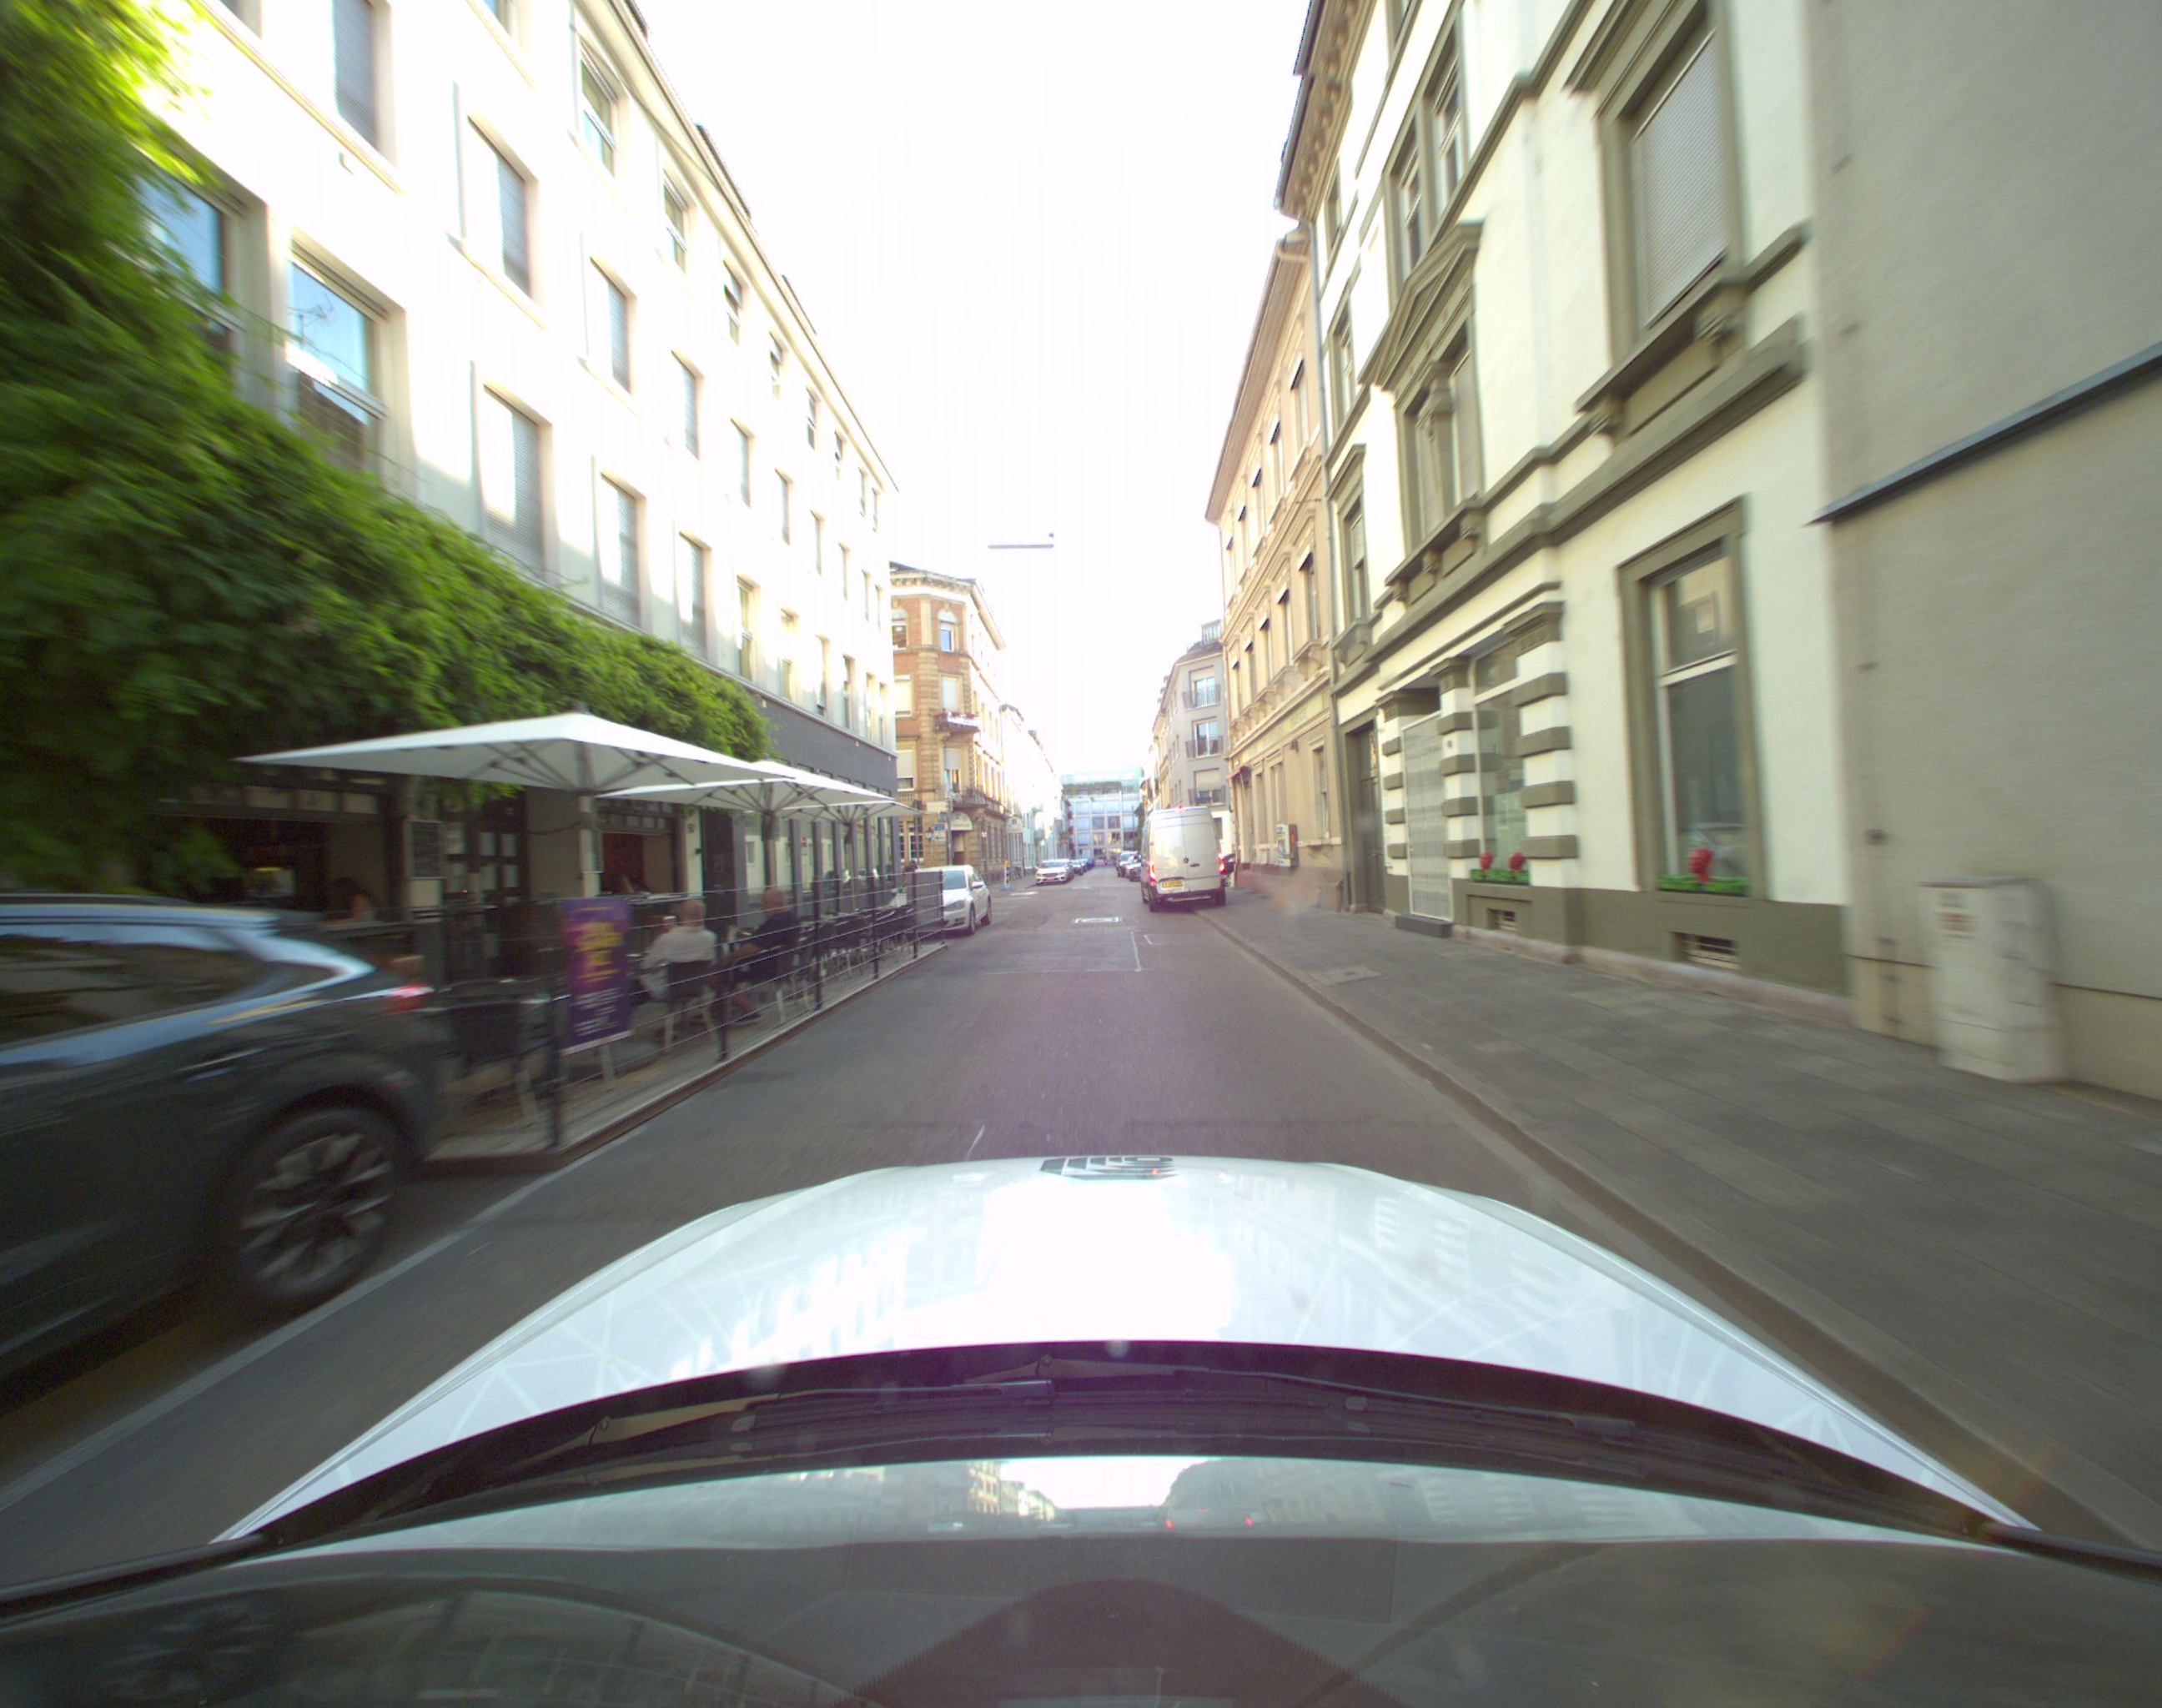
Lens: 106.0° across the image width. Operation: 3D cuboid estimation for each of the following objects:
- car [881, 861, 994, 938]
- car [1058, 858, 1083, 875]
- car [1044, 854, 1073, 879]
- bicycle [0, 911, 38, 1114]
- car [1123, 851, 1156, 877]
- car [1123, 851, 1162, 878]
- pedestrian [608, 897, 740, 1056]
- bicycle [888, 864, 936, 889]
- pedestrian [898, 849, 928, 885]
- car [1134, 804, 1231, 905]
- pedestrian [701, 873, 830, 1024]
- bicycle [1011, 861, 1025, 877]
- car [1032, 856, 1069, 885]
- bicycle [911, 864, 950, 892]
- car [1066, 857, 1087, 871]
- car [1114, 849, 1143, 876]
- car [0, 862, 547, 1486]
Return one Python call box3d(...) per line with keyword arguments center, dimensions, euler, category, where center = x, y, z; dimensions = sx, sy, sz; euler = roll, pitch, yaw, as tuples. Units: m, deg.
box3d(center=(-3.012, 0.912, 17.884), dimensions=(1.652, 1.414, 3.883), euler=(-3, 0, 1), category="car")
box3d(center=(-0.928, 1.054, 72.368), dimensions=(1.986, 1.355, 4.430), euler=(-3, 0, 1), category="car")
box3d(center=(-1.483, 0.809, 55.113), dimensions=(1.618, 1.576, 3.757), euler=(-3, 0, 3), category="car")
box3d(center=(-6.614, 0.936, 3.978), dimensions=(0.640, 1.160, 1.795), euler=(-2, 0, 3), category="bicycle")
box3d(center=(3.881, 0.661, 54.321), dimensions=(1.956, 1.557, 3.890), euler=(-3, 0, 1), category="car")
box3d(center=(3.602, 0.618, 48.252), dimensions=(1.931, 1.372, 3.789), euler=(-5, 0, 1), category="car")
box3d(center=(-3.336, 0.966, 6.704), dimensions=(0.546, 1.165, 0.746), euler=(-3, 0, 34), category="pedestrian")
box3d(center=(-7.451, 0.977, 35.903), dimensions=(1.966, 1.007, 0.540), euler=(-3, 0, 3), category="bicycle")
box3d(center=(-7.409, 0.576, 35.940), dimensions=(1.074, 1.545, 0.833), euler=(-3, 0, 4), category="pedestrian")
box3d(center=(2.770, 0.013, 23.710), dimensions=(2.267, 2.439, 6.208), euler=(-3, 0, 3), category="car")
box3d(center=(-2.977, 0.860, 7.770), dimensions=(0.778, 1.287, 0.916), euler=(-3, 0, 2), category="pedestrian")
box3d(center=(-4.683, 1.112, 60.926), dimensions=(0.734, 1.160, 2.462), euler=(-2, 0, 2), category="bicycle")
box3d(center=(-1.792, 0.984, 49.414), dimensions=(1.987, 1.564, 4.505), euler=(-3, 0, 0), category="car")
box3d(center=(-7.572, 1.227, 41.046), dimensions=(1.753, 1.275, 0.660), euler=(-3, 3, -2), category="bicycle")
box3d(center=(-0.516, 1.087, 90.143), dimensions=(2.166, 1.418, 3.999), euler=(-3, 0, 0), category="car")
box3d(center=(3.457, 0.615, 59.623), dimensions=(1.887, 1.784, 4.001), euler=(-3, 0, 1), category="car")
box3d(center=(-3.741, 0.906, 1.776), dimensions=(1.875, 1.568, 4.770), euler=(-5, 0, 0), category="car")
